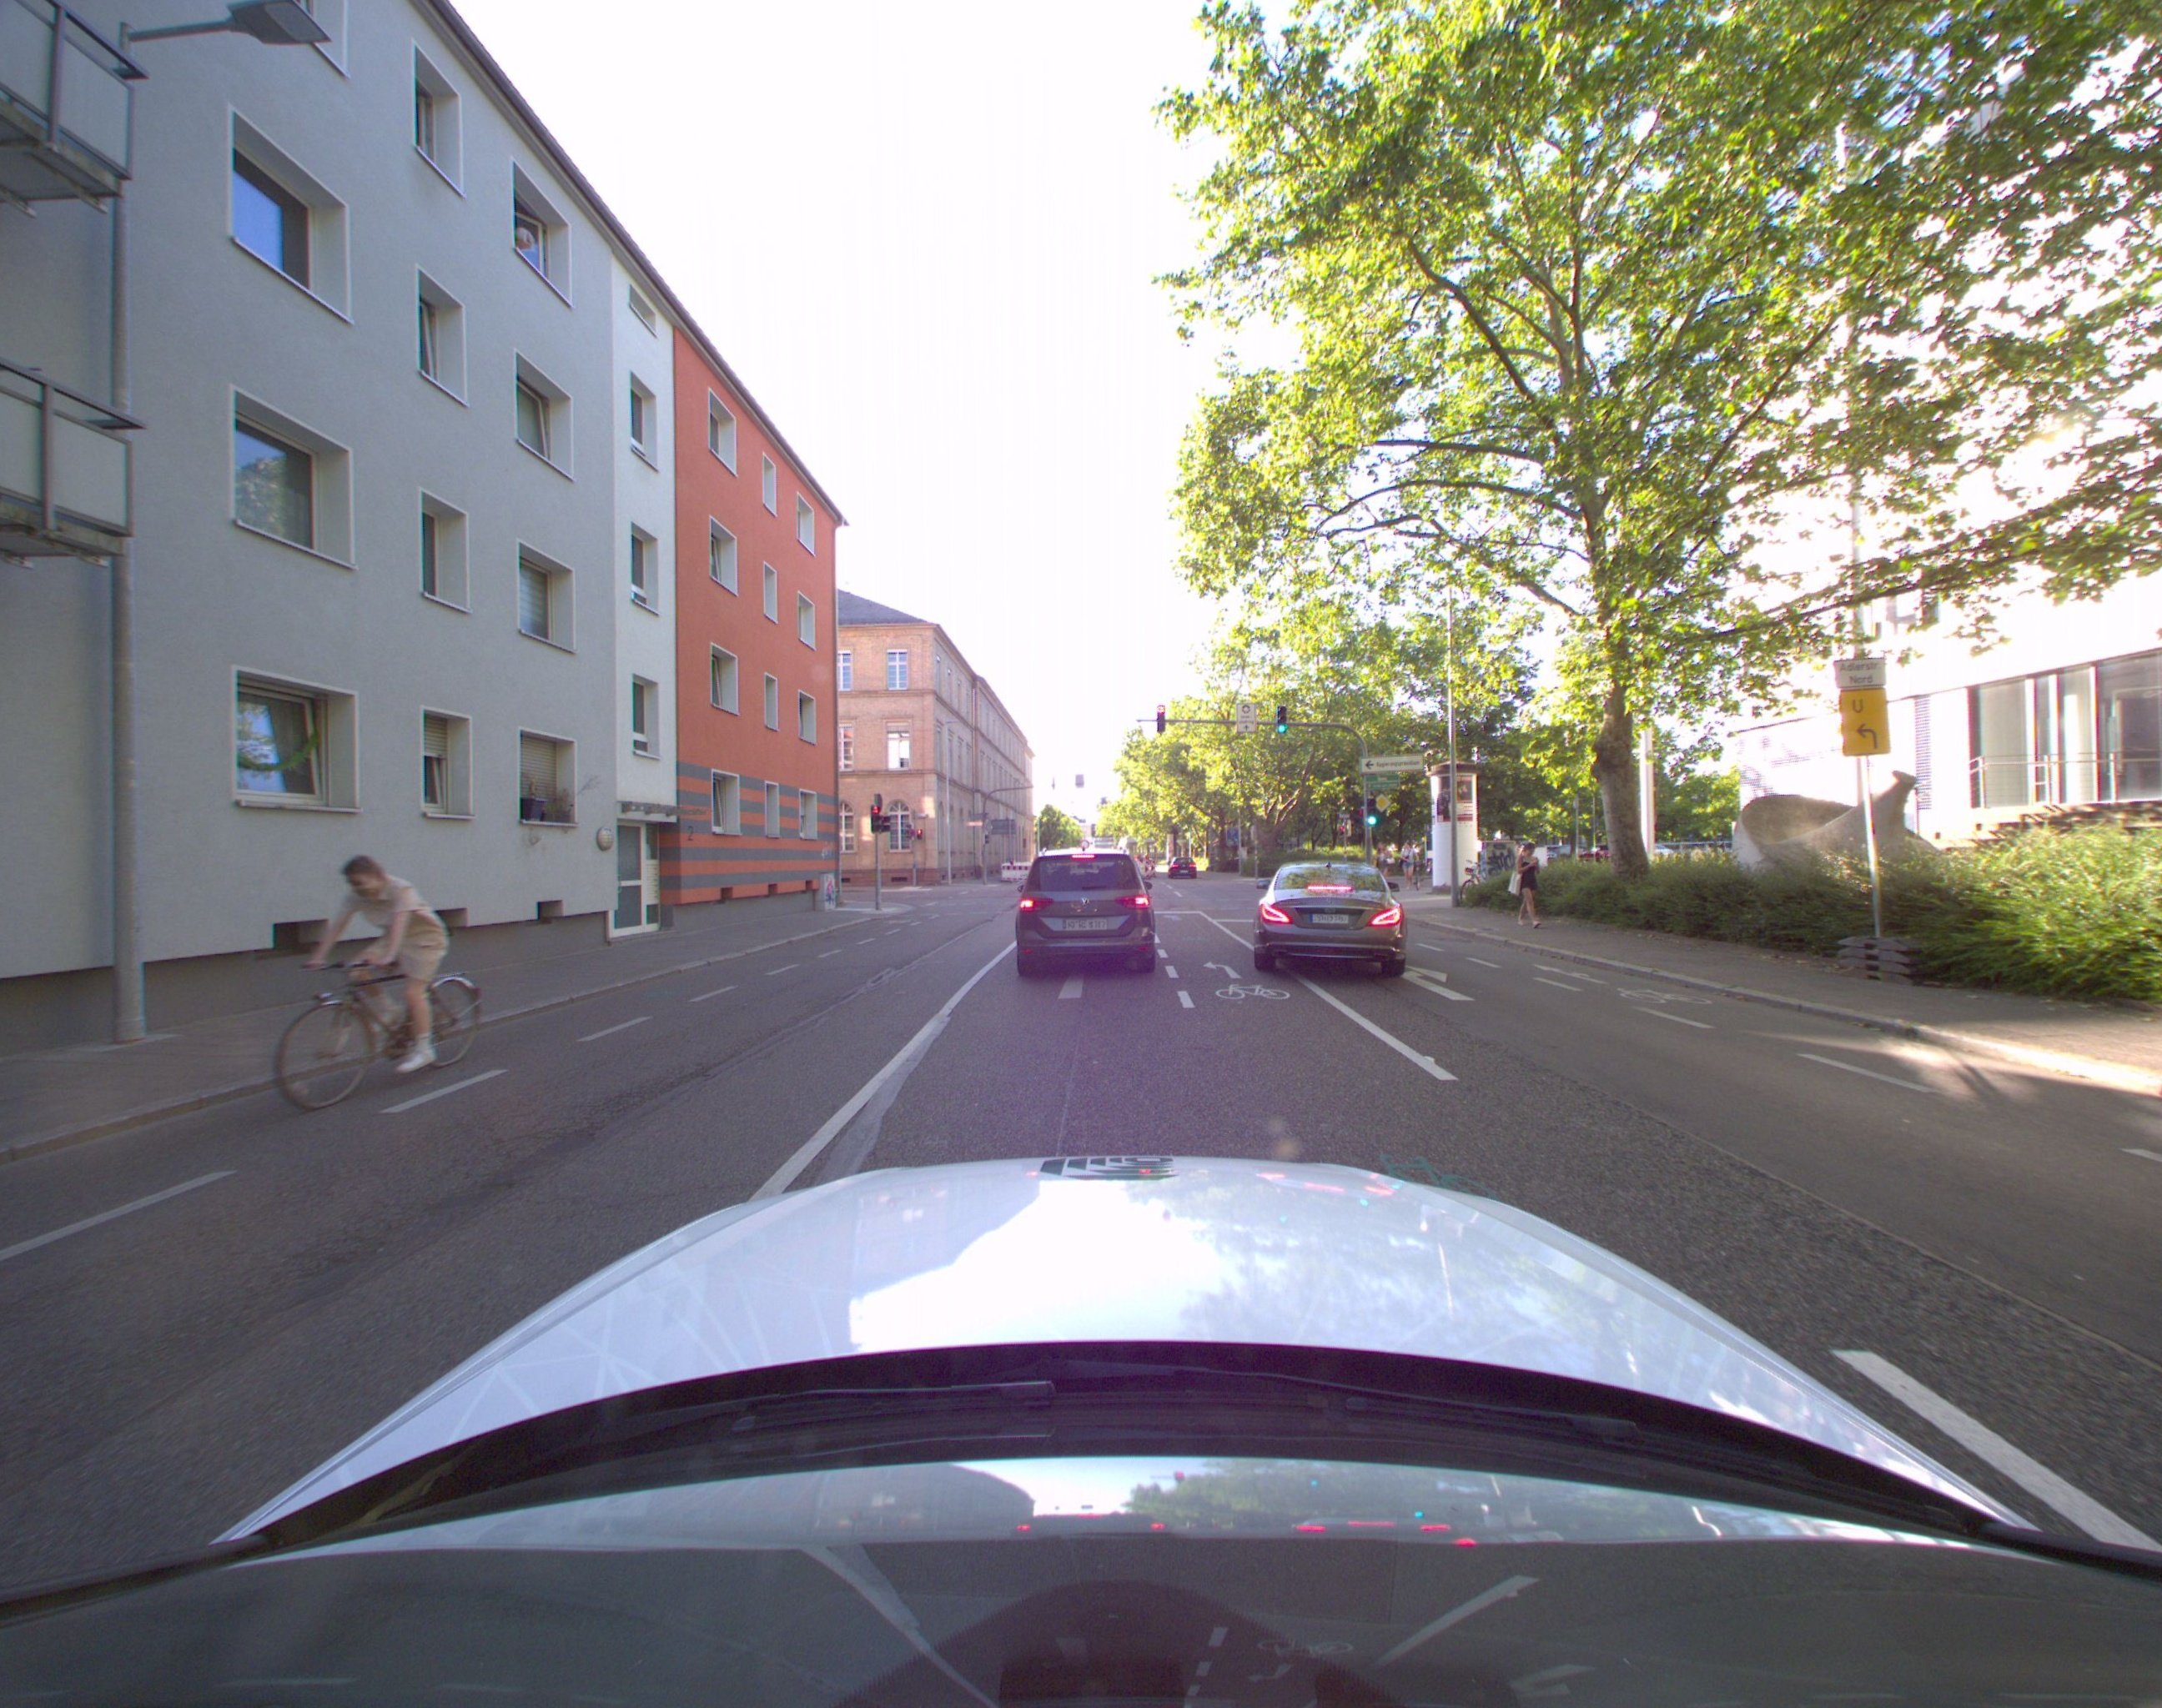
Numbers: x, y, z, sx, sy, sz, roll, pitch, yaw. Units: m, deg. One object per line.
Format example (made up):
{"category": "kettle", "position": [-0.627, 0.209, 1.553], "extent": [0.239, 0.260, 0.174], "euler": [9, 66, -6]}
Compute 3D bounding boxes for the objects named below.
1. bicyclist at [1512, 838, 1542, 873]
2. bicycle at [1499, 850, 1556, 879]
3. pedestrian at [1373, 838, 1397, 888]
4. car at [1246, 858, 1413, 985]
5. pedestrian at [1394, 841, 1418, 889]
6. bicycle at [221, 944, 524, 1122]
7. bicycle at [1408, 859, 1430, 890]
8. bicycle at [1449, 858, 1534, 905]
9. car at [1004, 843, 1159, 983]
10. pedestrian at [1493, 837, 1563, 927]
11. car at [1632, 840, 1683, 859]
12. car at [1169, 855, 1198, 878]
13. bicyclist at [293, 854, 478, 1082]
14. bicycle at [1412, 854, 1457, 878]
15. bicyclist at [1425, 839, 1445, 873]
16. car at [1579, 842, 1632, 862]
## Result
{"category": "bicyclist", "position": [21.086, 0.077, 38.535], "extent": [0.960, 1.615, 0.871], "euler": [0, -1, 3]}
{"category": "bicycle", "position": [21.096, 0.485, 38.502], "extent": [2.279, 1.326, 0.660], "euler": [0, -1, 2]}
{"category": "pedestrian", "position": [11.204, 0.345, 30.031], "extent": [0.726, 1.808, 0.913], "euler": [-2, -2, 19]}
{"category": "car", "position": [3.466, 0.782, 11.613], "extent": [1.829, 1.429, 4.536], "euler": [-1, 0, 16]}
{"category": "pedestrian", "position": [11.797, 0.398, 29.581], "extent": [0.678, 1.697, 0.975], "euler": [-1, -1, 16]}
{"category": "bicycle", "position": [-5.049, 1.217, 6.001], "extent": [0.546, 0.891, 1.868], "euler": [-2, 0, 2]}
{"category": "bicycle", "position": [12.204, 0.724, 29.441], "extent": [0.520, 1.100, 1.749], "euler": [-1, 0, 16]}
{"category": "bicycle", "position": [10.726, 0.711, 21.303], "extent": [1.969, 1.190, 0.528], "euler": [0, -1, 0]}
{"category": "car", "position": [0.128, 0.713, 11.660], "extent": [1.801, 1.612, 4.004], "euler": [-2, 0, 3]}
{"category": "pedestrian", "position": [8.470, 0.518, 15.470], "extent": [0.795, 1.630, 0.908], "euler": [-3, 0, 3]}
{"category": "car", "position": [47.282, -0.328, 66.862], "extent": [1.566, 1.468, 3.796], "euler": [0, 0, 1]}
{"category": "car", "position": [6.792, 0.801, 54.272], "extent": [1.682, 1.440, 3.906], "euler": [0, 0, 4]}
{"category": "bicyclist", "position": [-5.061, 0.781, 5.979], "extent": [0.646, 1.558, 0.807], "euler": [0, -1, 1]}
{"category": "bicycle", "position": [18.064, 0.611, 41.605], "extent": [2.023, 1.220, 0.599], "euler": [0, -1, 1]}
{"category": "bicyclist", "position": [18.080, 0.103, 41.634], "extent": [0.707, 1.697, 0.676], "euler": [0, -1, 1]}
{"category": "car", "position": [39.655, -0.123, 61.632], "extent": [1.624, 1.482, 3.796], "euler": [0, 0, 1]}
